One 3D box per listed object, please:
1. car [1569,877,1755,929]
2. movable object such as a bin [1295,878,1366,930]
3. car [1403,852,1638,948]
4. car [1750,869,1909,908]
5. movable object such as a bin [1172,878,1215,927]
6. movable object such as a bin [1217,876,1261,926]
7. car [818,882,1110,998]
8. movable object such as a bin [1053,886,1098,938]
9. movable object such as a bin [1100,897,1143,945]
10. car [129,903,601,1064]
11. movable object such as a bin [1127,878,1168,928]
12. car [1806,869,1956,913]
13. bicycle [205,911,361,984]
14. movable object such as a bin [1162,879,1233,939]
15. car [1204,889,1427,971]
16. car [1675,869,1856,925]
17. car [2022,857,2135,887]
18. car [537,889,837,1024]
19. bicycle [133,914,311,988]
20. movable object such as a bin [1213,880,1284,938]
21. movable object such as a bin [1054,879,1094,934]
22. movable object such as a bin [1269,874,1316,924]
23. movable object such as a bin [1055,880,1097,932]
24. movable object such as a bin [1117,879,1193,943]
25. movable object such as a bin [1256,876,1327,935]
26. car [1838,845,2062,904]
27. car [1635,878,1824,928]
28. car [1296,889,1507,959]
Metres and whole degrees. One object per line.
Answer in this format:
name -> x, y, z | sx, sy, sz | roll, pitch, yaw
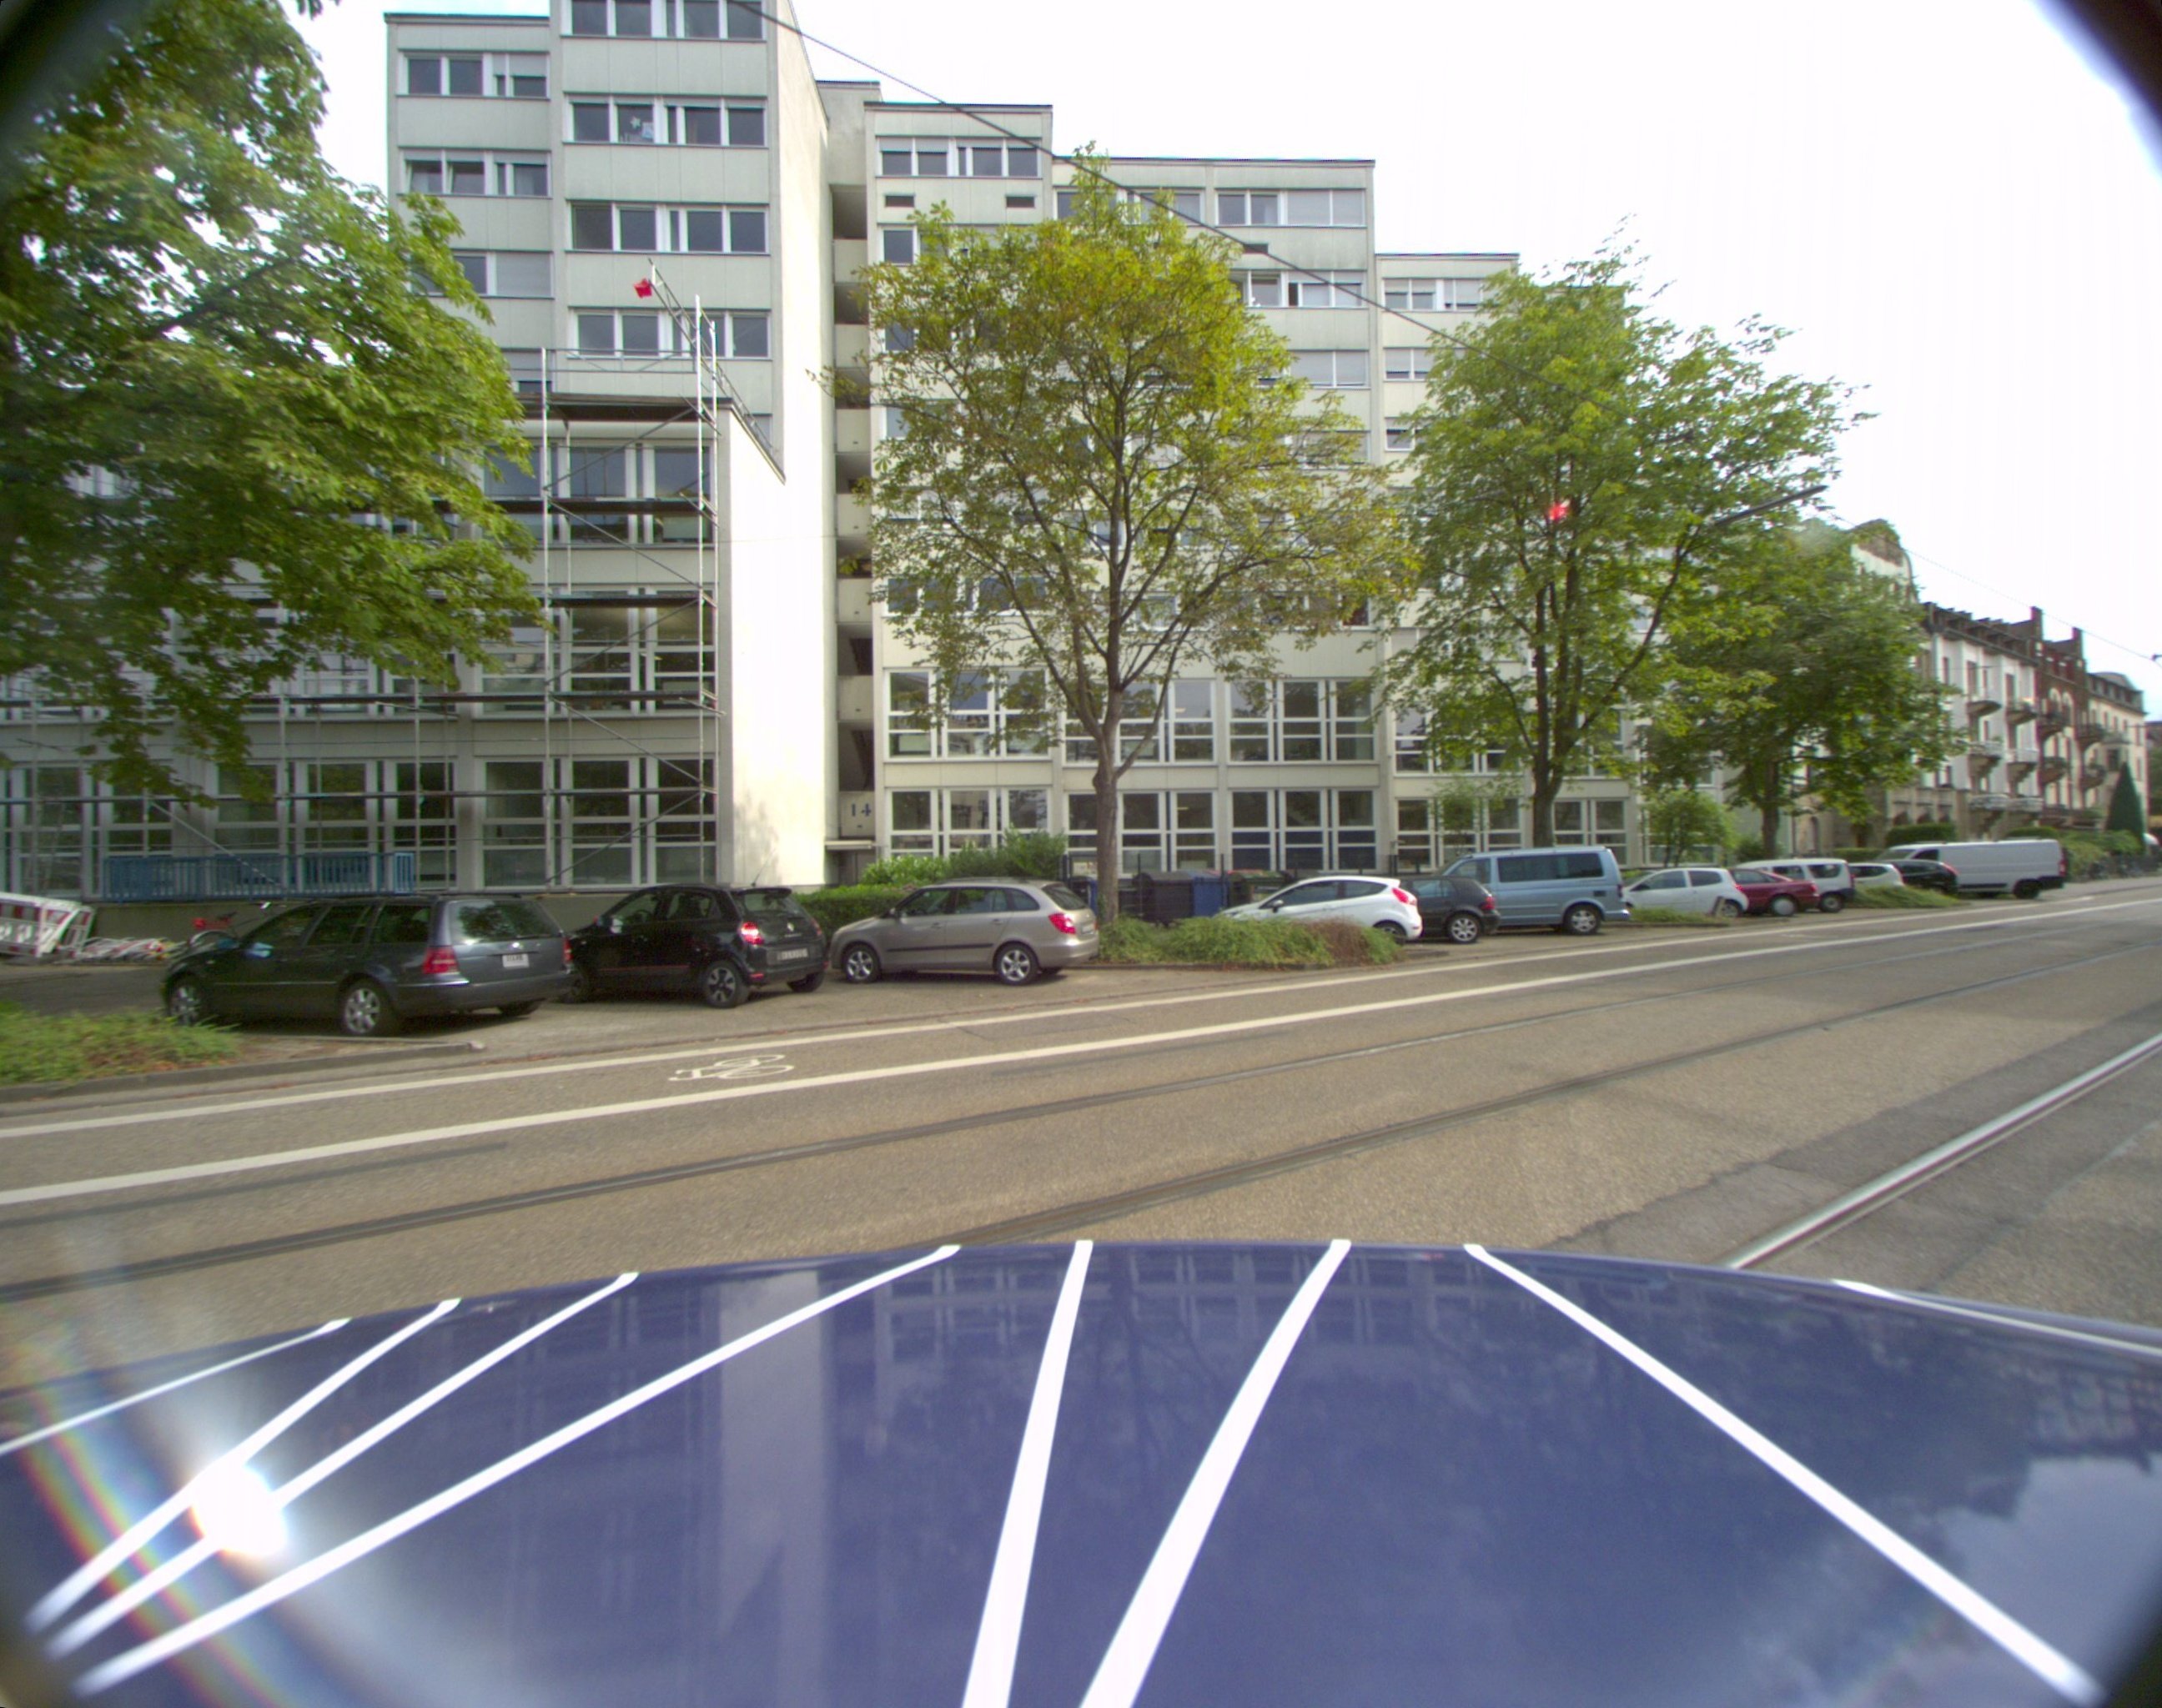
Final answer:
car -> 15.788, 1.333, 20.859 | 3.638, 1.322, 1.770 | -1, -1, 16
movable object such as a bin -> 7.266, 1.430, 22.157 | 1.402, 1.449, 1.333 | 0, -1, -25
car -> 9.991, 1.044, 17.684 | 4.338, 2.051, 2.003 | -1, -1, 15
car -> 26.686, 1.226, 27.221 | 3.638, 1.322, 1.770 | -1, -1, 16
movable object such as a bin -> 3.597, 1.541, 24.461 | 1.174, 1.504, 1.180 | -1, -1, 0
movable object such as a bin -> 5.095, 1.492, 24.580 | 1.174, 1.558, 1.180 | -1, -1, 0
car -> -1.725, 1.230, 11.495 | 4.045, 1.528, 1.598 | -2, -1, 15
movable object such as a bin -> -0.164, 1.588, 21.202 | 1.118, 1.383, 1.063 | -1, -1, -8
movable object such as a bin -> 0.982, 1.612, 18.509 | 0.744, 1.098, 0.785 | 0, -1, -23
car -> -7.838, 1.315, 8.444 | 4.162, 1.407, 1.818 | -1, -1, 14
movable object such as a bin -> 2.135, 1.567, 24.594 | 1.174, 1.558, 1.180 | -1, -1, 0
car -> 30.296, 1.386, 28.931 | 3.635, 1.579, 1.771 | -2, -1, 35
bicycle -> -13.465, 1.547, 12.917 | 0.594, 1.037, 1.978 | -1, -1, -1
movable object such as a bin -> 3.077, 1.436, 20.163 | 1.339, 1.495, 1.333 | 0, -1, -25
car -> 4.407, 1.407, 14.604 | 3.854, 1.384, 1.636 | -1, -1, 15
car -> 21.170, 1.317, 23.703 | 3.762, 1.608, 1.817 | -2, -1, 20
car -> 58.529, 1.079, 44.686 | 3.635, 1.665, 1.771 | -2, -1, 35
car -> -5.201, 1.258, 10.114 | 3.410, 1.528, 1.598 | -1, -1, 18
bicycle -> -14.364, 1.582, 12.801 | 0.594, 1.037, 1.980 | -1, -1, 9
movable object such as a bin -> 4.565, 1.469, 20.775 | 1.356, 1.493, 1.333 | 0, -1, -25
movable object such as a bin -> -0.201, 1.354, 19.872 | 0.912, 1.398, 1.024 | -1, -1, -8
movable object such as a bin -> 6.825, 1.446, 24.559 | 1.174, 1.558, 1.180 | -1, -1, 0
movable object such as a bin -> -0.171, 1.608, 23.915 | 1.180, 1.558, 1.174 | -1, -1, -8
movable object such as a bin -> 1.876, 1.410, 19.345 | 1.417, 1.520, 1.328 | 0, -1, -25
movable object such as a bin -> 5.912, 1.422, 21.390 | 1.356, 1.586, 1.333 | 0, -1, -25
car -> 33.987, 0.841, 29.956 | 5.427, 2.162, 2.152 | -2, -1, 20
car -> 18.739, 1.409, 22.177 | 3.762, 1.330, 1.817 | -2, -1, 20
car -> 6.703, 1.466, 16.363 | 3.965, 1.378, 1.817 | -1, -3, 16
